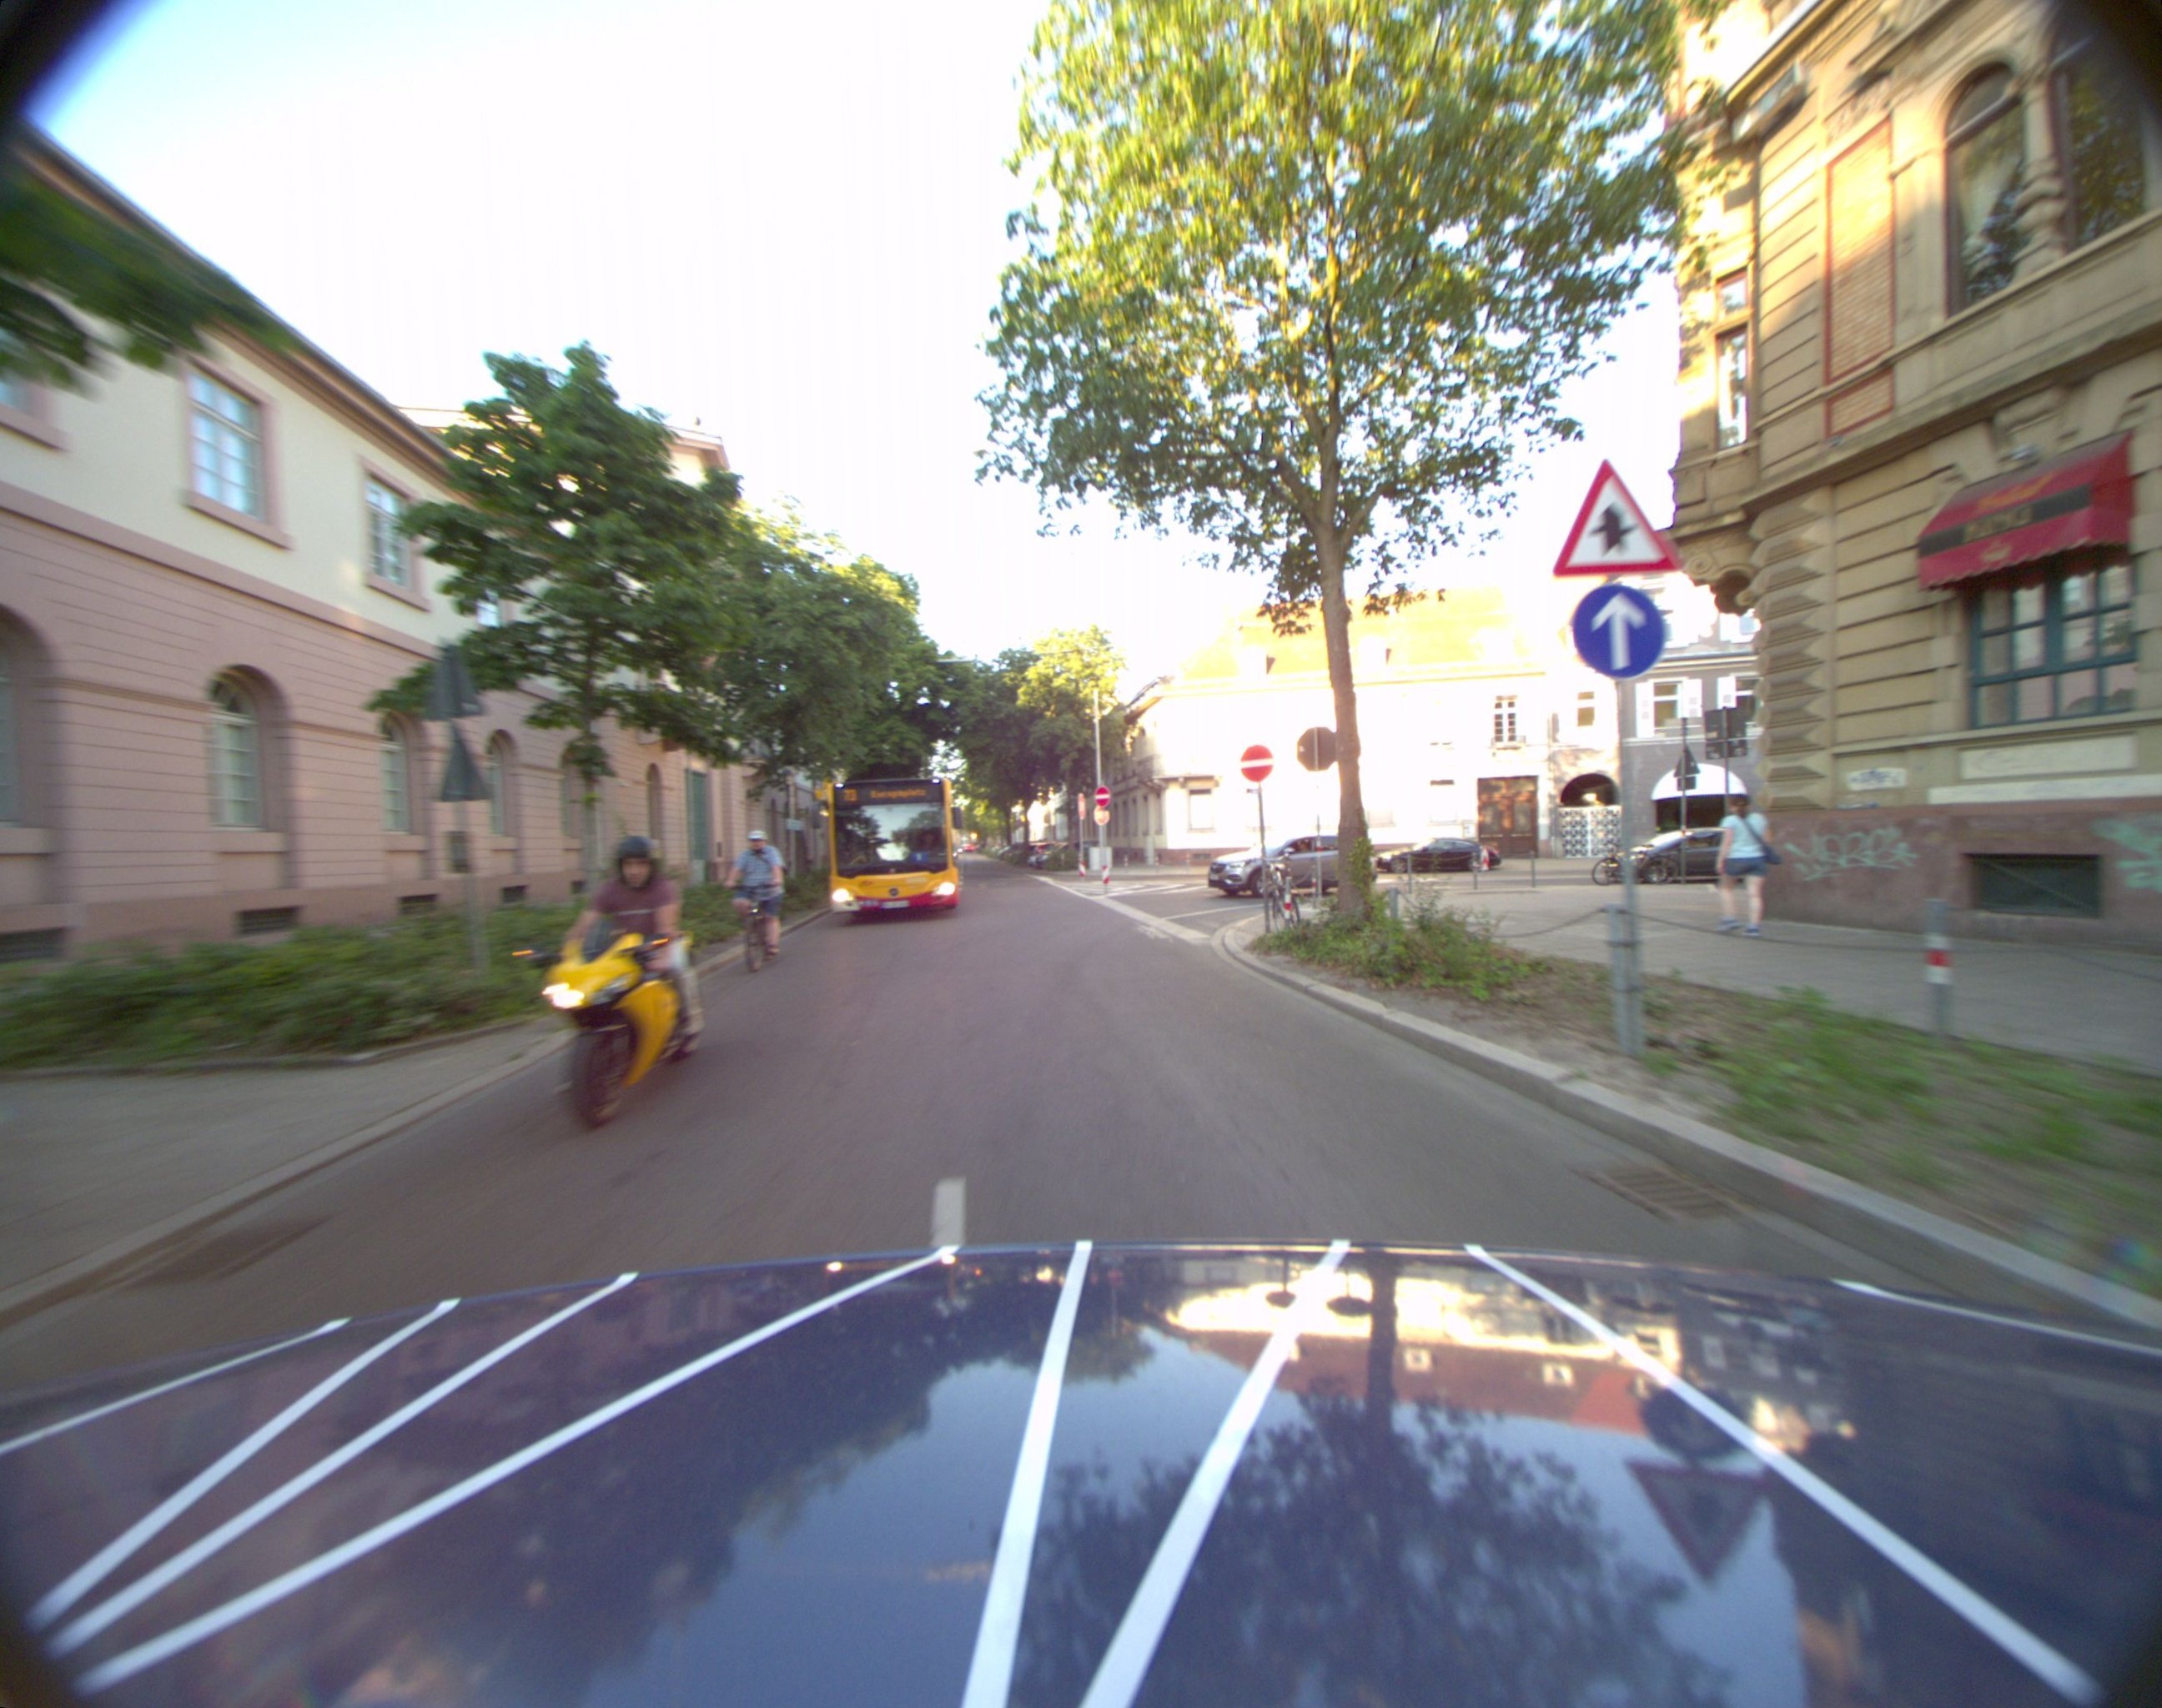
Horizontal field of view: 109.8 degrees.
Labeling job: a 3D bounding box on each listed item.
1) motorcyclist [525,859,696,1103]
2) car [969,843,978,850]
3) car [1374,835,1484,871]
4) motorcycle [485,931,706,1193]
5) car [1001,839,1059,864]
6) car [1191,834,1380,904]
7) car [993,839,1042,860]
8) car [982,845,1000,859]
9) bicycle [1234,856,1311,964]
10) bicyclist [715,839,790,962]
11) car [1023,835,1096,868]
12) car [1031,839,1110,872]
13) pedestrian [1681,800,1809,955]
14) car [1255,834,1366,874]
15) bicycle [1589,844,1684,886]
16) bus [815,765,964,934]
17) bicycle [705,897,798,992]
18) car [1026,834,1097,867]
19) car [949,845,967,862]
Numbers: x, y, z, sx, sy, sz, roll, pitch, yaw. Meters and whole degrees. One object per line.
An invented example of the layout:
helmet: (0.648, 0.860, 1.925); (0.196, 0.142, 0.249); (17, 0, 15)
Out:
motorcyclist: (-3.016, 0.760, 4.965); (0.738, 1.404, 0.725); (-3, 3, -20)
car: (-25.160, -1.731, 177.674); (1.845, 1.699, 4.153); (-2, 1, -9)
car: (13.923, -0.030, 30.659); (3.809, 1.318, 1.835); (-1, 1, 17)
motorcycle: (-2.976, 1.165, 4.901); (0.738, 1.054, 1.960); (-3, 2, -20)
car: (-3.843, -0.225, 57.106); (4.002, 1.699, 1.997); (-2, 1, -17)
car: (5.278, 0.324, 19.763); (4.362, 1.561, 1.945); (-2, 2, -15)
car: (-5.720, -0.435, 68.044); (4.002, 1.699, 1.842); (-2, 1, -17)
car: (-10.566, -0.258, 89.034); (1.800, 1.502, 3.996); (-2, 1, -9)
bicycle: (2.649, 0.688, 10.370); (0.805, 1.217, 2.420); (-5, -1, 16)
bicyclist: (-4.412, 0.600, 10.270); (0.637, 1.552, 0.818); (-4, 2, -10)
car: (-1.291, -0.146, 45.071); (4.002, 1.801, 1.797); (-2, 1, -17)
car: (-0.600, 0.037, 42.445); (4.002, 1.660, 1.797); (-2, 1, -17)
pedestrian: (7.151, 0.238, 8.232); (0.653, 1.556, 0.907); (-4, 0, 17)
car: (9.512, -0.025, 31.694); (4.263, 1.521, 1.835); (-1, 1, 15)
bicycle: (13.177, 0.266, 18.080); (1.759, 0.965, 0.539); (-1, -1, 31)
bus: (-4.657, -0.210, 20.874); (2.670, 3.177, 11.886); (-4, 2, -9)
bicycle: (-4.368, 1.156, 10.226); (0.637, 0.977, 1.979); (-4, 1, -10)
car: (-1.249, -0.232, 47.580); (4.002, 1.940, 1.997); (-2, 1, -17)
car: (-13.471, -0.101, 83.237); (1.845, 1.699, 3.996); (-2, 1, -9)
